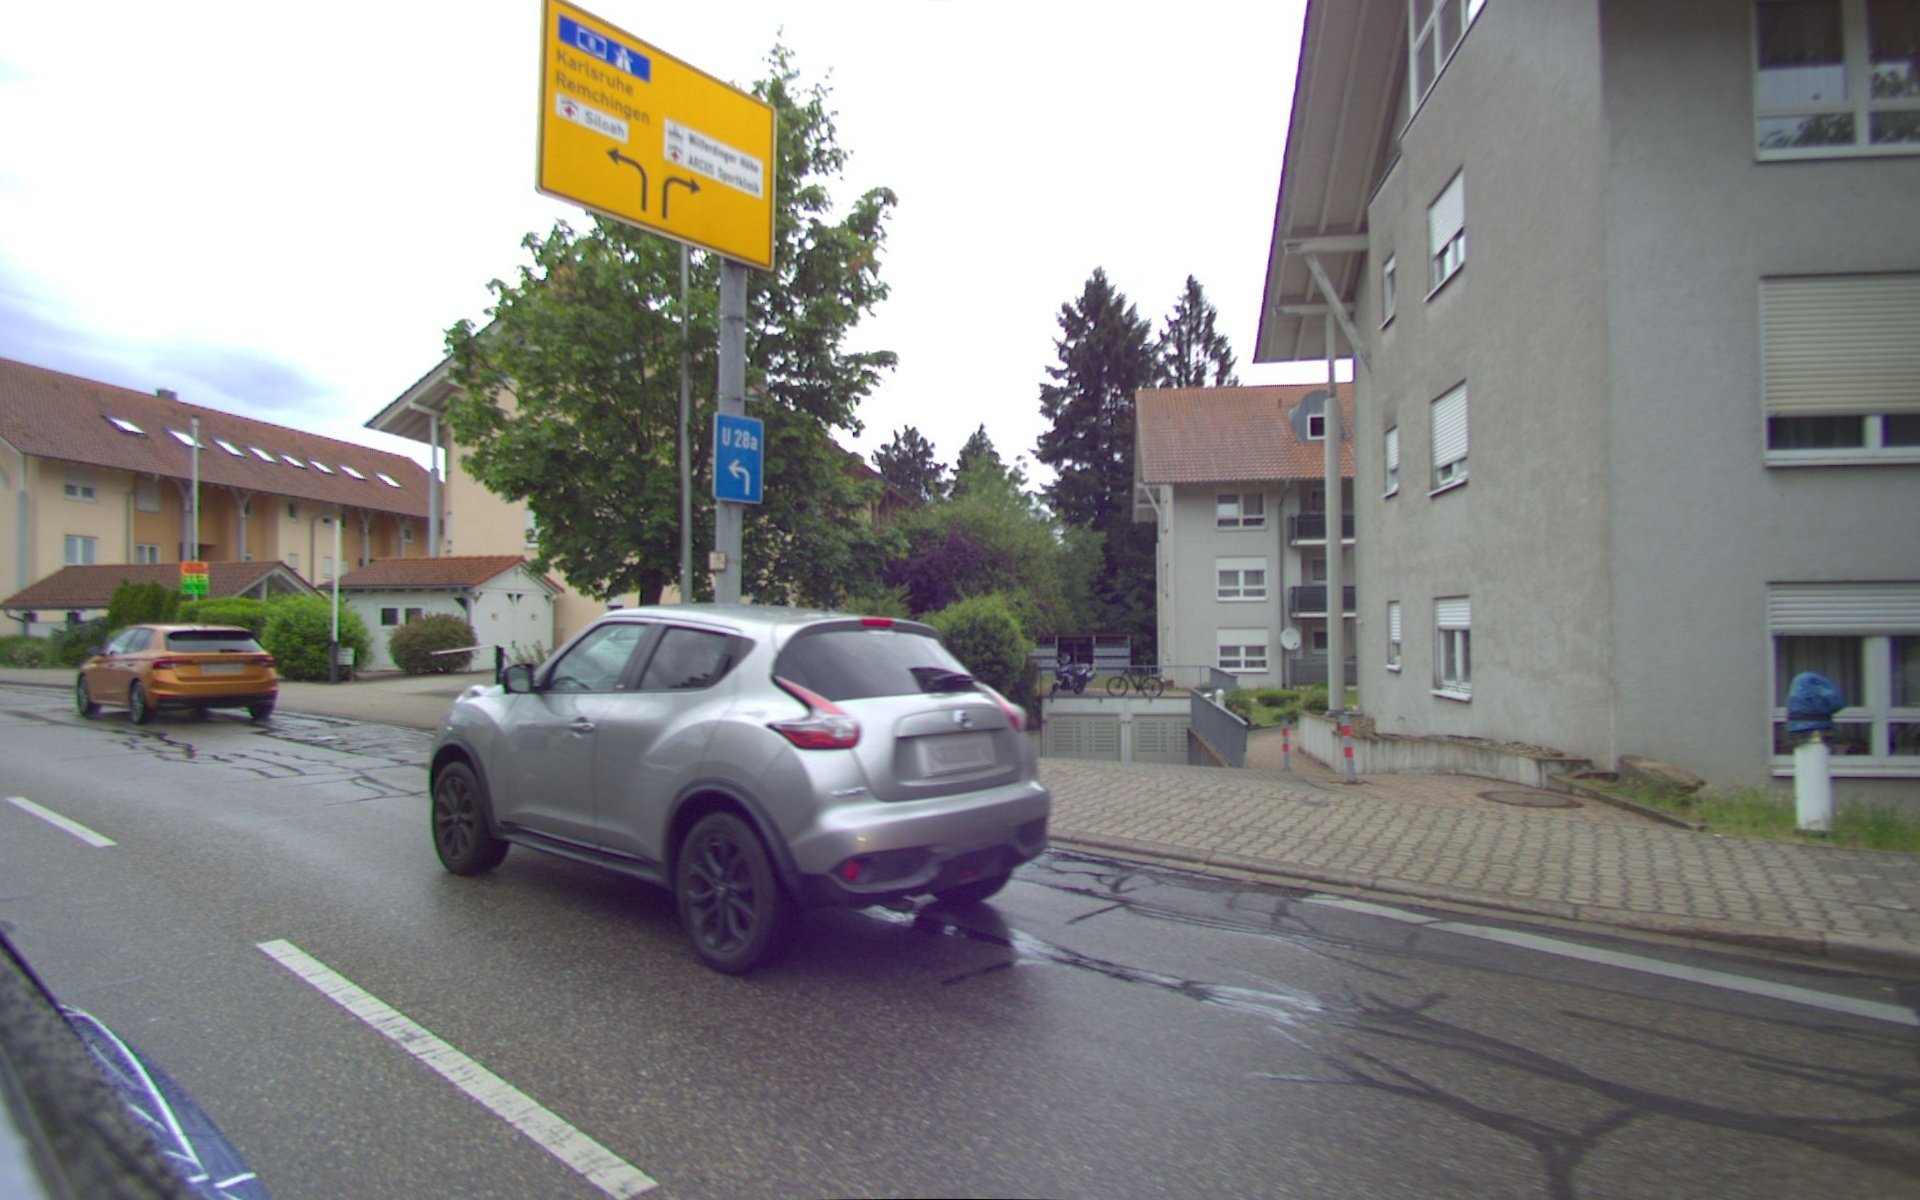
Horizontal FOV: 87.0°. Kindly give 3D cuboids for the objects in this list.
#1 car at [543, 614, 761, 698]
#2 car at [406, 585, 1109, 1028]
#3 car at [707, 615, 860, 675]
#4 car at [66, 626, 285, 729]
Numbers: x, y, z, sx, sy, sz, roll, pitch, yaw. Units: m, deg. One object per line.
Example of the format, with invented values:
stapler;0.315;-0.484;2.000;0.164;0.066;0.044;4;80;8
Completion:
car;-6.316;1.129;20.964;3.953;1.614;1.734;0;-2;8
car;-1.329;0.770;5.479;3.998;1.537;1.646;-1;-2;41
car;-4.271;1.085;24.750;3.399;1.392;1.512;0;-2;8
car;-12.233;1.118;15.724;3.765;1.395;1.671;-1;-2;36
